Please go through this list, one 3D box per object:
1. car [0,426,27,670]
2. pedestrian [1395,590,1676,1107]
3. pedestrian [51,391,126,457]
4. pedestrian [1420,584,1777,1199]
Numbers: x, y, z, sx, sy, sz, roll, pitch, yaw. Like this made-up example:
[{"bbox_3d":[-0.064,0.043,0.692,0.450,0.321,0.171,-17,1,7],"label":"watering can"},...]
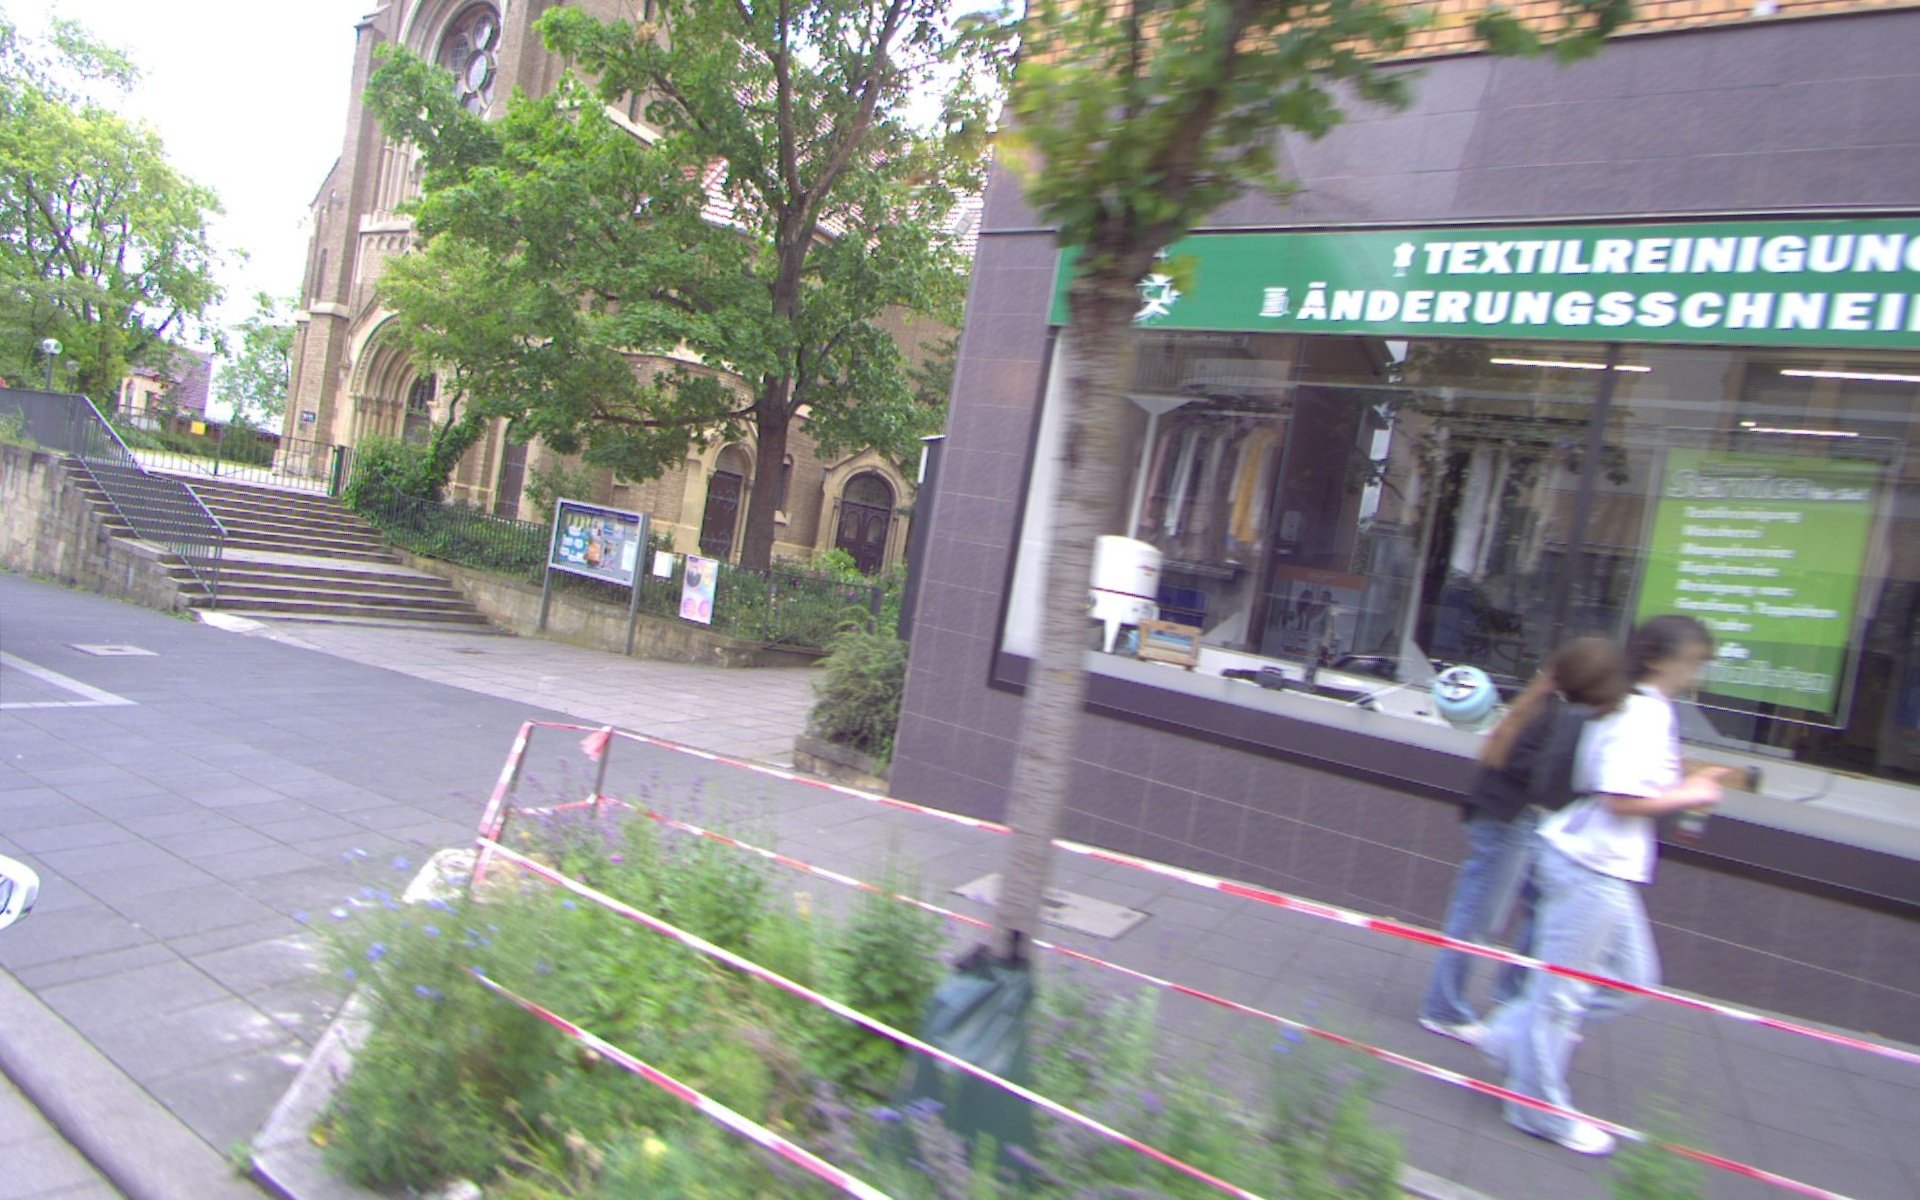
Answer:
[{"bbox_3d":[-9.883,-0.699,8.576,4.633,1.916,1.936,8,3,36],"label":"car"},{"bbox_3d":[2.113,0.831,3.747,0.658,1.654,0.672,7,3,30],"label":"pedestrian"},{"bbox_3d":[-19.705,-3.972,22.751,0.968,1.246,0.991,7,0,34],"label":"pedestrian"},{"bbox_3d":[1.901,0.823,3.087,0.658,1.654,0.672,7,3,30],"label":"pedestrian"}]
